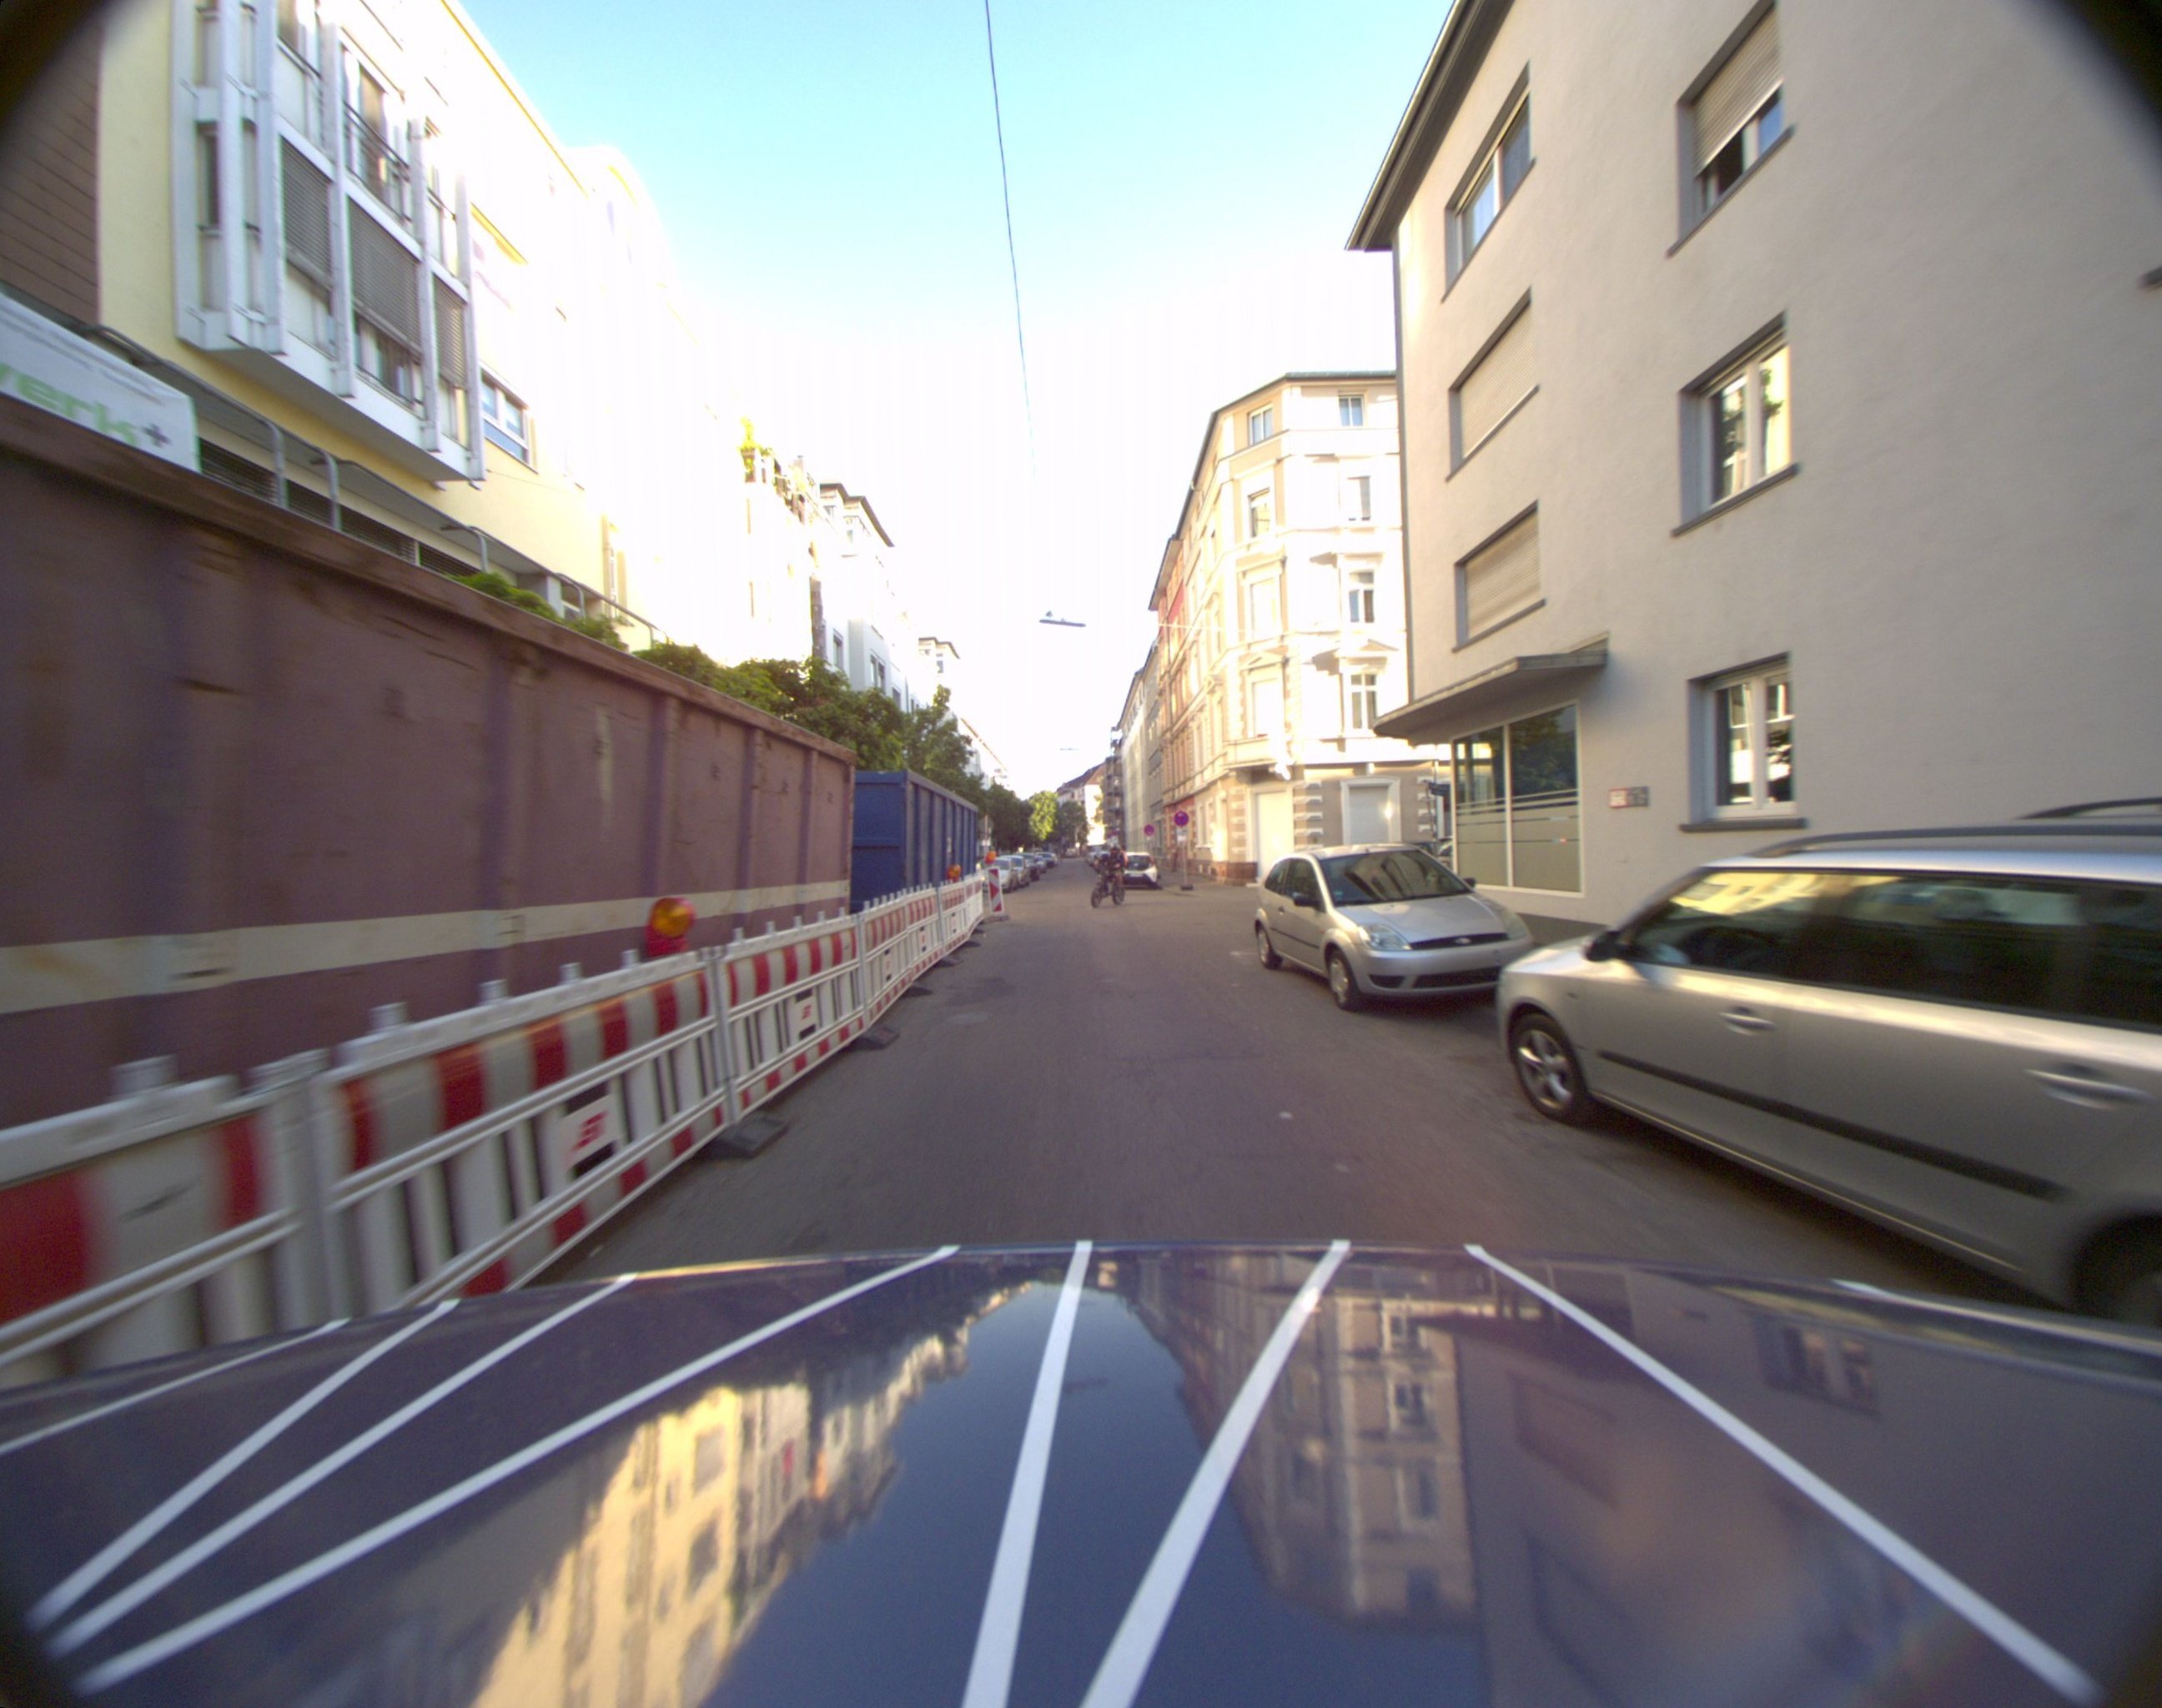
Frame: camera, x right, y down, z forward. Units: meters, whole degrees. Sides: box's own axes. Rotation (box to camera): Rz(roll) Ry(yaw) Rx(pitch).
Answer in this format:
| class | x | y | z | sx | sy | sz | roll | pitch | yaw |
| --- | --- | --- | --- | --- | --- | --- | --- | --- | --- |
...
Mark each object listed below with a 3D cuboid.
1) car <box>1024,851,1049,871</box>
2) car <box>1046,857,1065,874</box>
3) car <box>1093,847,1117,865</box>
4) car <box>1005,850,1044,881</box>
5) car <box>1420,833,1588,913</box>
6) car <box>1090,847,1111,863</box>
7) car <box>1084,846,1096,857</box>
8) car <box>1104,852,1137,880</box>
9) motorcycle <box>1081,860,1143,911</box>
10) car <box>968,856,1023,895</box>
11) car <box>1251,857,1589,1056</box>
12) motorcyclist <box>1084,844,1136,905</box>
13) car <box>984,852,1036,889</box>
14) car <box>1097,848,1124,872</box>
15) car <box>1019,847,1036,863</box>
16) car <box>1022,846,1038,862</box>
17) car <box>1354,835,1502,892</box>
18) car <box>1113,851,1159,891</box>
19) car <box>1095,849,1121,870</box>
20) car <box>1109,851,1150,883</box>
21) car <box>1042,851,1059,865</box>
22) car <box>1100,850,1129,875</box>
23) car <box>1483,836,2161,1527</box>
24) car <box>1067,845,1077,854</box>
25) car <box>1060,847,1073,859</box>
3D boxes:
| class | x | y | z | sx | sy | sz | roll | pitch | yaw |
| --- | --- | --- | --- | --- | --- | --- | --- | --- | --- |
| car | -3.594 | 0.583 | 62.040 | 1.855 | 1.480 | 3.999 | -3 | 1 | -1 |
| car | -2.636 | 1.164 | 78.859 | 1.856 | 1.649 | 3.999 | -3 | 1 | -2 |
| car | 2.295 | 0.155 | 74.174 | 1.999 | 1.576 | 4.492 | -3 | 1 | -2 |
| car | -3.367 | 0.651 | 45.792 | 1.863 | 1.679 | 4.390 | -3 | 1 | 1 |
| car | 9.262 | 0.386 | 16.803 | 2.761 | 1.557 | 1.648 | -3 | 1 | 0 |
| car | 2.007 | 0.106 | 78.872 | 1.998 | 1.566 | 4.149 | -3 | 1 | 0 |
| car | 1.586 | -0.438 | 132.047 | 1.998 | 1.783 | 3.999 | -3 | 1 | 0 |
| car | 2.154 | 0.611 | 42.066 | 1.589 | 1.407 | 3.911 | 2 | 1 | 0 |
| motorcycle | 0.841 | 0.819 | 20.270 | 0.805 | 1.242 | 1.701 | -4 | -1 | 34 |
| car | -3.545 | 0.855 | 32.113 | 1.638 | 1.439 | 4.066 | -3 | 1 | 2 |
| car | 3.034 | 0.794 | 7.648 | 1.636 | 1.422 | 3.554 | -3 | 1 | -3 |
| motorcyclist | 0.770 | 0.539 | 20.204 | 0.872 | 1.558 | 1.001 | -4 | -1 | 34 |
| car | -3.383 | 0.743 | 36.838 | 1.912 | 1.576 | 4.000 | -3 | 1 | 2 |
| car | 2.023 | 0.387 | 53.203 | 1.597 | 1.513 | 4.429 | -3 | 1 | -1 |
| car | -7.115 | 0.096 | 100.682 | 1.999 | 2.002 | 3.999 | -3 | 1 | -1 |
| car | -7.059 | -0.017 | 105.171 | 1.999 | 2.002 | 3.999 | -3 | 1 | -1 |
| car | 10.252 | 0.268 | 22.585 | 3.589 | 1.471 | 1.686 | -3 | 1 | -6 |
| car | 2.231 | 0.655 | 31.678 | 1.688 | 1.487 | 3.844 | 1 | 1 | 1 |
| car | 2.086 | 0.396 | 59.139 | 1.662 | 1.421 | 4.352 | -3 | 1 | -2 |
| car | 2.281 | 0.601 | 36.639 | 1.614 | 1.420 | 3.961 | 0 | 1 | -2 |
| car | -3.652 | 0.422 | 90.985 | 1.903 | 1.510 | 4.223 | -3 | 1 | -1 |
| car | 2.103 | 0.500 | 48.194 | 1.537 | 1.490 | 4.194 | -1 | 1 | -2 |
| car | 3.217 | 0.749 | 2.669 | 1.559 | 1.500 | 3.597 | -5 | 1 | -1 |
| car | -1.943 | -0.952 | 161.716 | 1.998 | 1.783 | 3.999 | -3 | 1 | 0 |
| car | -2.346 | -0.130 | 122.798 | 1.998 | 1.783 | 3.999 | -3 | 1 | 0 |
